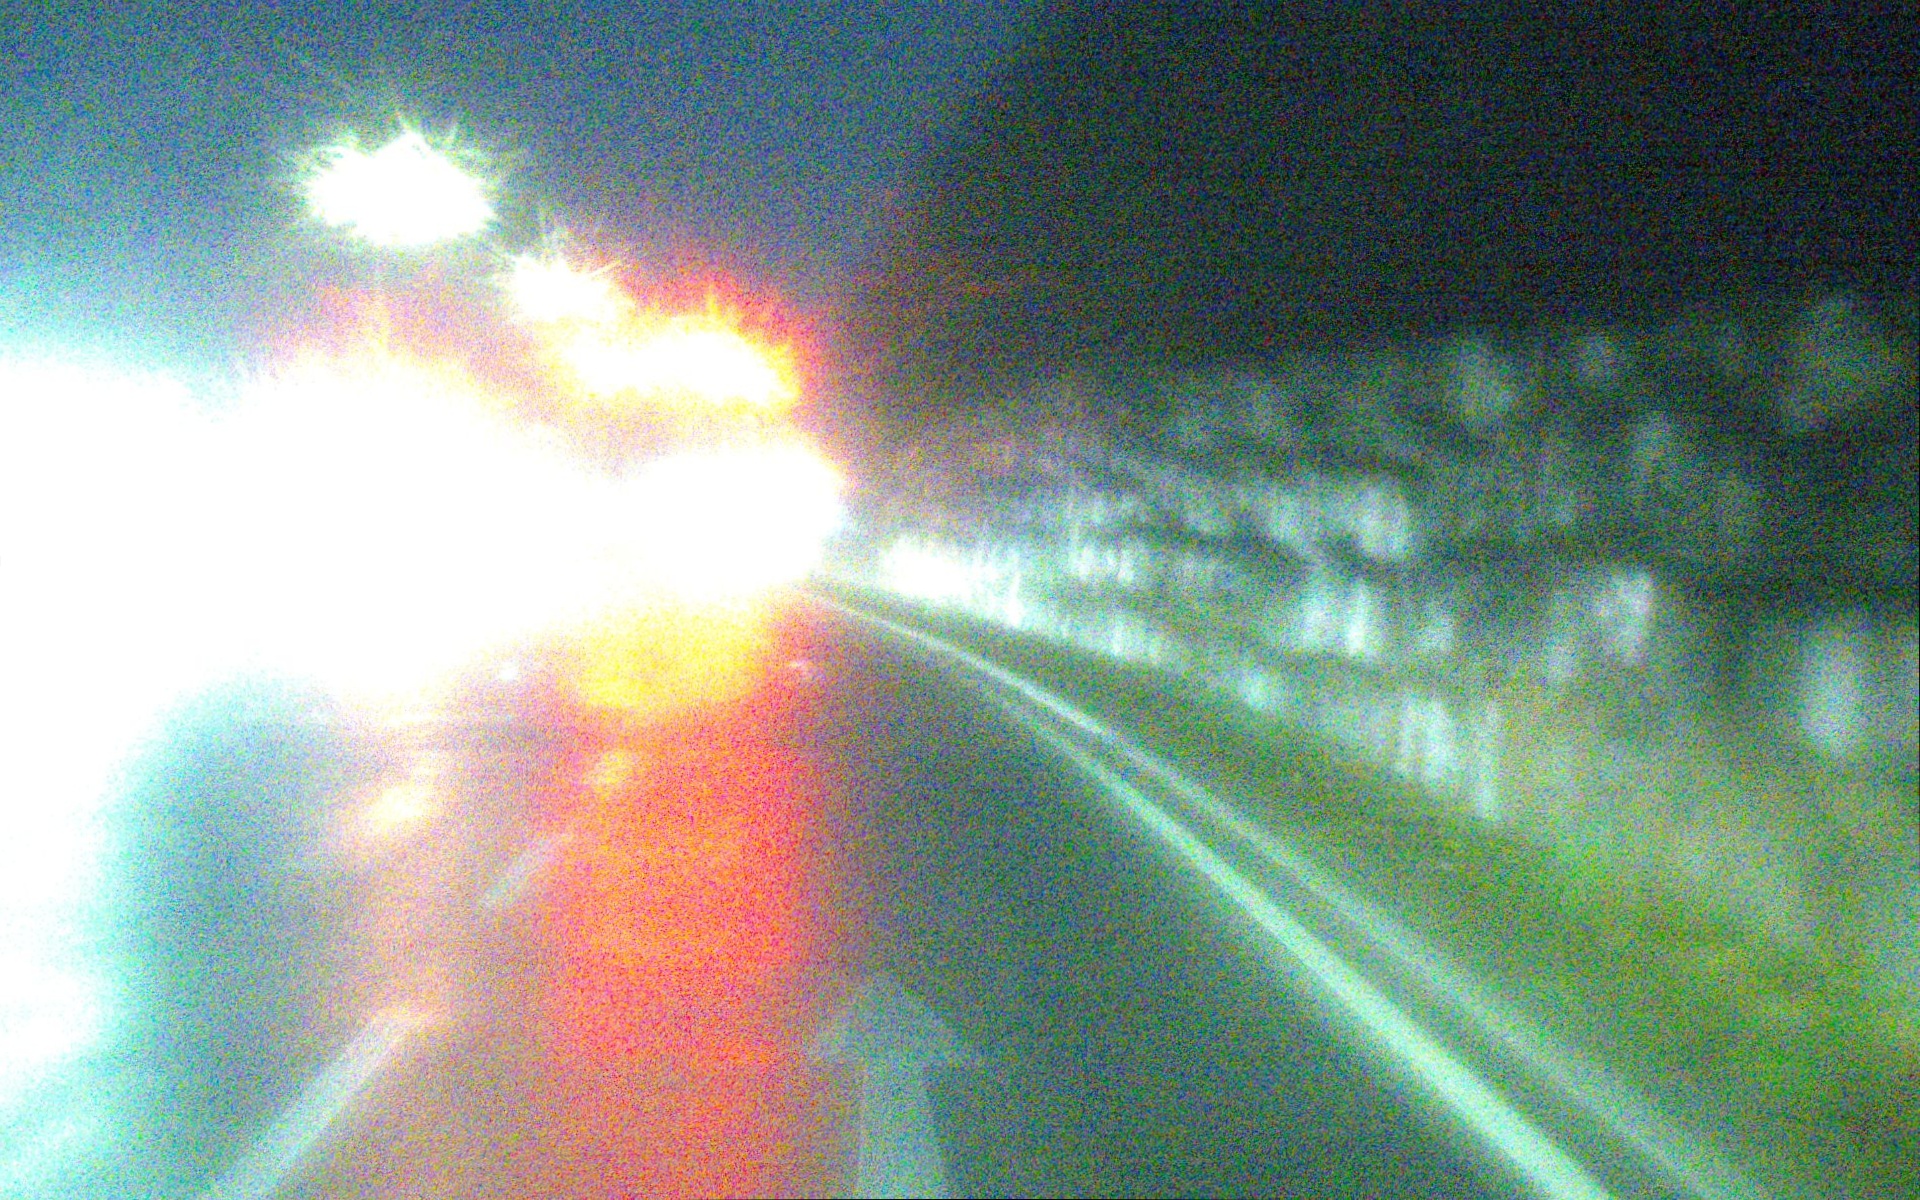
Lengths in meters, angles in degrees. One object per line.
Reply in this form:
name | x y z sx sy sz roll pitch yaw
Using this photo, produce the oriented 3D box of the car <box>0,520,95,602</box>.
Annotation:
car | -18.014 -0.773 66.925 1.790 1.436 3.857 -2 2 -8
